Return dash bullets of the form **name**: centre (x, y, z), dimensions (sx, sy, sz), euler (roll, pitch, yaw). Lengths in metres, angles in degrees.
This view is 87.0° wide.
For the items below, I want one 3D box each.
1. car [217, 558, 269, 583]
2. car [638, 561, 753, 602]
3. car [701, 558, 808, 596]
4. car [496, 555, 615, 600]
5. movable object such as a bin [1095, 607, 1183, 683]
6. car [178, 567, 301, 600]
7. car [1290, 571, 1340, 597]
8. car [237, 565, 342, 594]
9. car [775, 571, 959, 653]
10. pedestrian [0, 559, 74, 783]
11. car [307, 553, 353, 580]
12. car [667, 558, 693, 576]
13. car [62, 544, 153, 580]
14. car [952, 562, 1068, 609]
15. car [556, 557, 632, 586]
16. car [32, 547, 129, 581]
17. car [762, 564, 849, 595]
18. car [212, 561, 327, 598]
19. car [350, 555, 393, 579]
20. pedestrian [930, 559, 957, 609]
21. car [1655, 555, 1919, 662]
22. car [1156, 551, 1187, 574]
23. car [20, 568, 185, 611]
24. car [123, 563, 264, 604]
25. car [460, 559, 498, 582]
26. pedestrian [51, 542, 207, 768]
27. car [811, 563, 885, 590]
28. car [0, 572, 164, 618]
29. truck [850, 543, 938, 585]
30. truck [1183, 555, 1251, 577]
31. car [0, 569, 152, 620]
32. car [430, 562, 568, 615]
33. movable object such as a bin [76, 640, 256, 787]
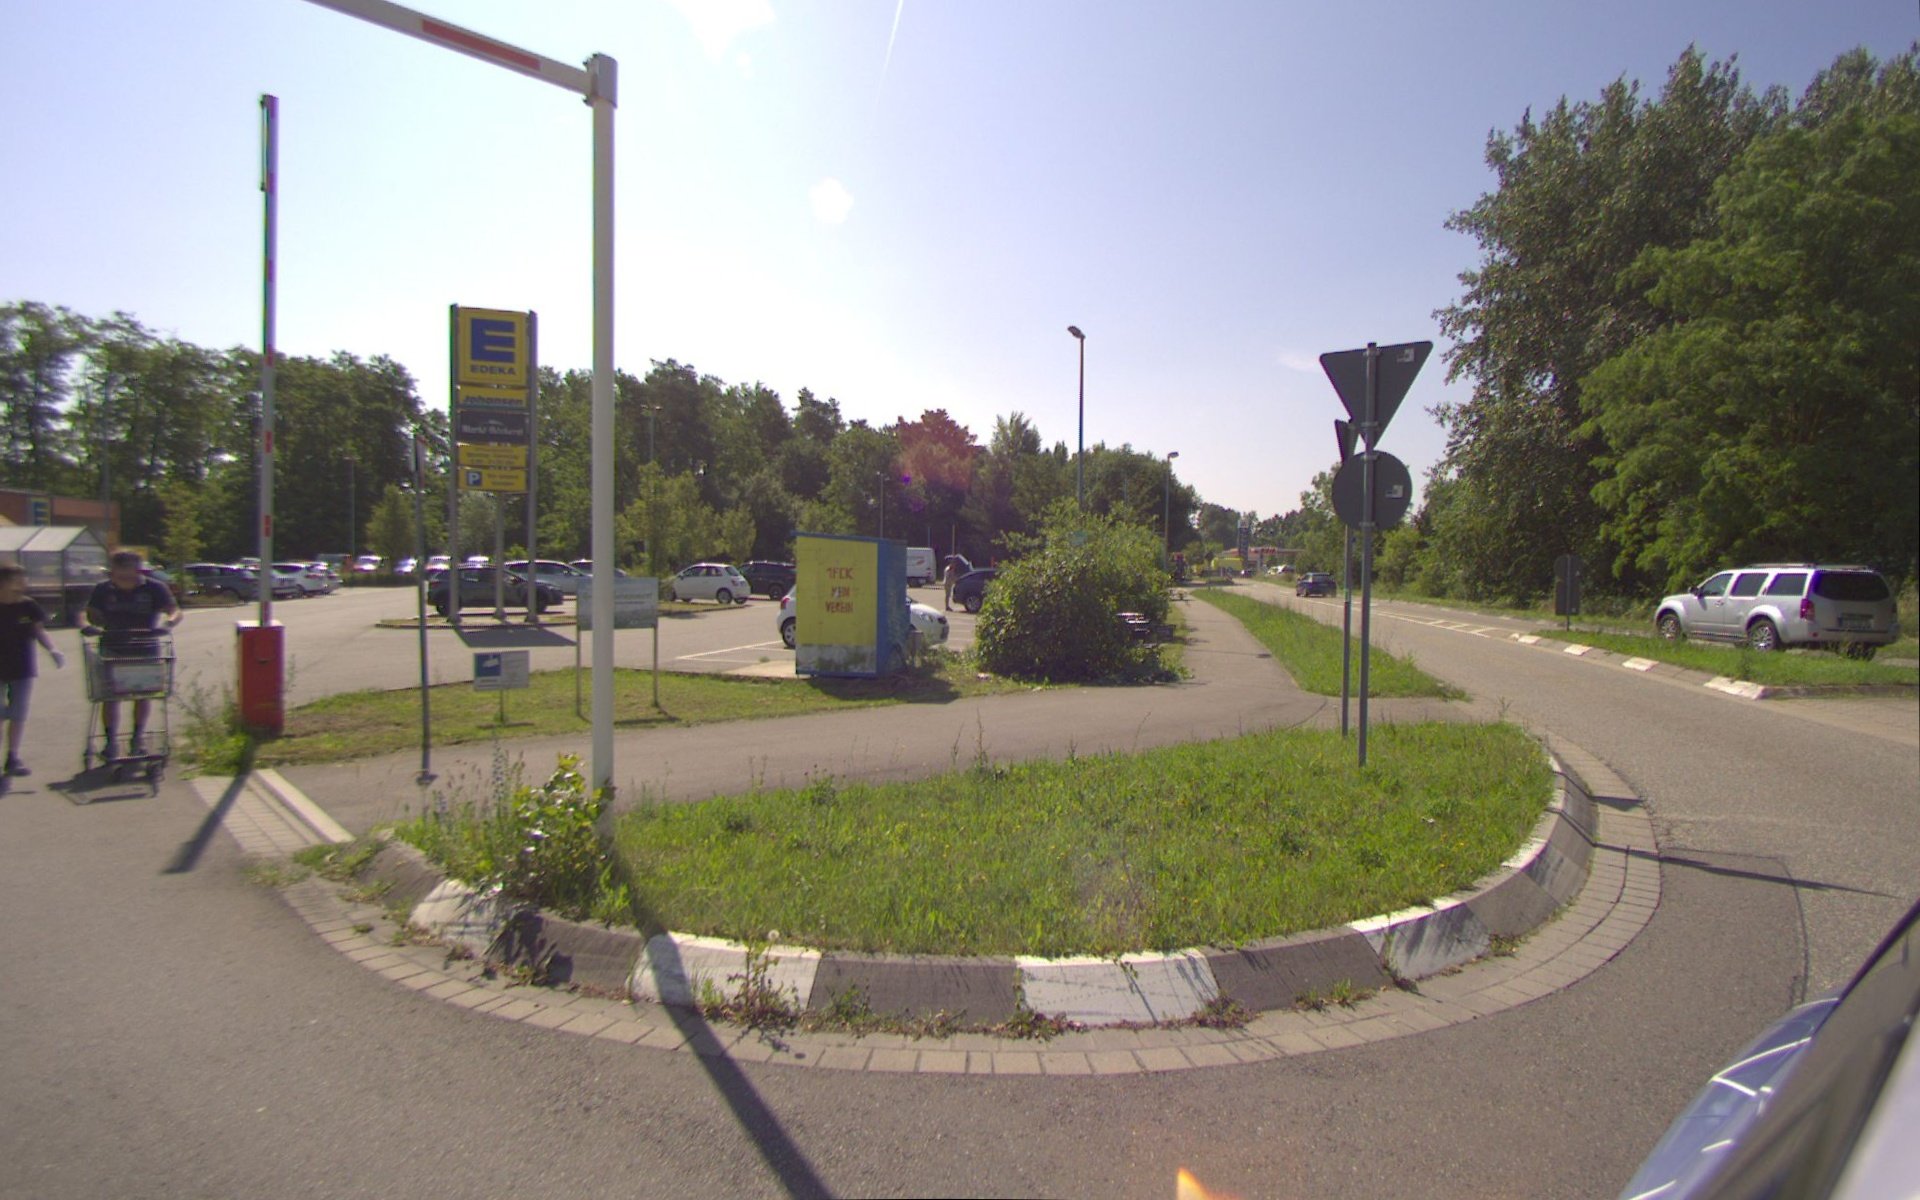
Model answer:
- **car**: centre (-53.687, -2.255, 75.861), dimensions (1.902, 1.822, 4.010), euler (0, 2, -15)
- **car**: centre (-10.002, -0.709, 38.384), dimensions (3.936, 1.460, 1.646), euler (1, 2, 11)
- **car**: centre (-8.826, -0.982, 43.589), dimensions (4.097, 1.593, 1.996), euler (0, 1, 8)
- **car**: centre (-17.110, -0.975, 43.059), dimensions (4.465, 1.723, 2.005), euler (-2, 2, -16)
- **movable object such as a bin**: centre (2.963, 0.710, 16.694), dimensions (0.866, 1.134, 1.435), euler (1, 2, 38)
- **car**: centre (-31.548, -0.729, 44.437), dimensions (3.917, 1.371, 2.004), euler (0, 2, -11)
- **car**: centre (20.863, -0.960, 59.644), dimensions (1.807, 1.404, 4.416), euler (1, 1, 7)
- **car**: centre (-33.277, -1.046, 50.323), dimensions (3.917, 1.415, 1.895), euler (0, 2, -11)
- **car**: centre (-1.977, 0.209, 21.893), dimensions (3.553, 1.581, 1.806), euler (2, 2, 15)
- **pedestrian**: centre (-7.340, 0.521, 7.731), dimensions (0.591, 1.668, 0.697), euler (1, 1, 28)
- **car**: centre (-48.045, -2.592, 77.292), dimensions (1.902, 1.998, 4.010), euler (0, 2, -15)
- **car**: centre (-23.488, -2.738, 84.826), dimensions (2.028, 1.504, 4.009), euler (0, 2, -15)
- **car**: centre (-54.073, -2.390, 64.297), dimensions (3.940, 2.274, 2.004), euler (0, 1, -13)
- **car**: centre (1.862, -0.535, 37.013), dimensions (4.067, 1.647, 1.747), euler (1, 1, 11)
- **car**: centre (-21.209, -1.670, 58.823), dimensions (3.917, 1.604, 1.975), euler (0, 2, -11)
- **car**: centre (-52.568, -2.141, 60.556), dimensions (3.916, 2.039, 2.004), euler (0, 1, -13)
- **car**: centre (-7.444, -1.005, 48.978), dimensions (3.928, 1.445, 1.748), euler (1, 2, 4)
- **car**: centre (-31.864, -0.954, 46.839), dimensions (3.917, 1.682, 2.004), euler (0, 1, -10)
- **car**: centre (-45.306, -2.547, 78.012), dimensions (1.902, 1.732, 4.010), euler (0, 2, -15)
- **pedestrian**: centre (-0.611, -0.605, 37.426), dimensions (0.808, 1.820, 0.863), euler (1, 1, 12)
- **car**: centre (16.123, 0.065, 19.978), dimensions (1.866, 1.838, 4.592), euler (1, 2, 4)
- **car**: centre (27.382, -4.826, 131.285), dimensions (2.625, 2.846, 5.156), euler (0, 1, -3)
- **car**: centre (-29.071, -0.391, 34.454), dimensions (3.916, 1.415, 1.719), euler (0, 2, -17)
- **car**: centre (-29.559, -0.651, 39.189), dimensions (3.916, 1.504, 1.973), euler (0, 1, -18)
- **car**: centre (-37.885, -2.312, 79.787), dimensions (2.028, 1.732, 4.009), euler (0, 2, -15)
- **pedestrian**: centre (-7.110, 0.421, 8.668), dimensions (0.838, 1.807, 0.869), euler (1, 1, 38)
- **car**: centre (-6.260, -1.329, 56.822), dimensions (3.900, 1.471, 1.905), euler (1, 2, 1)
- **car**: centre (-28.113, -0.181, 32.213), dimensions (3.916, 1.393, 2.005), euler (-1, 1, -18)
- **truck**: centre (-4.367, -2.414, 67.241), dimensions (5.526, 2.637, 2.197), euler (1, 2, 10)
- **truck**: centre (41.207, -5.480, 162.474), dimensions (10.168, 3.435, 3.877), euler (1, 2, 9)
- **car**: centre (-26.715, -0.196, 29.922), dimensions (3.916, 1.438, 1.987), euler (-1, 1, -16)
- **car**: centre (-14.681, -0.386, 32.347), dimensions (3.917, 1.608, 1.665), euler (-1, 2, -25)
- **movable object such as a bin**: centre (-6.308, 0.854, 8.042), dimensions (1.197, 0.967, 0.868), euler (1, 2, 38)
